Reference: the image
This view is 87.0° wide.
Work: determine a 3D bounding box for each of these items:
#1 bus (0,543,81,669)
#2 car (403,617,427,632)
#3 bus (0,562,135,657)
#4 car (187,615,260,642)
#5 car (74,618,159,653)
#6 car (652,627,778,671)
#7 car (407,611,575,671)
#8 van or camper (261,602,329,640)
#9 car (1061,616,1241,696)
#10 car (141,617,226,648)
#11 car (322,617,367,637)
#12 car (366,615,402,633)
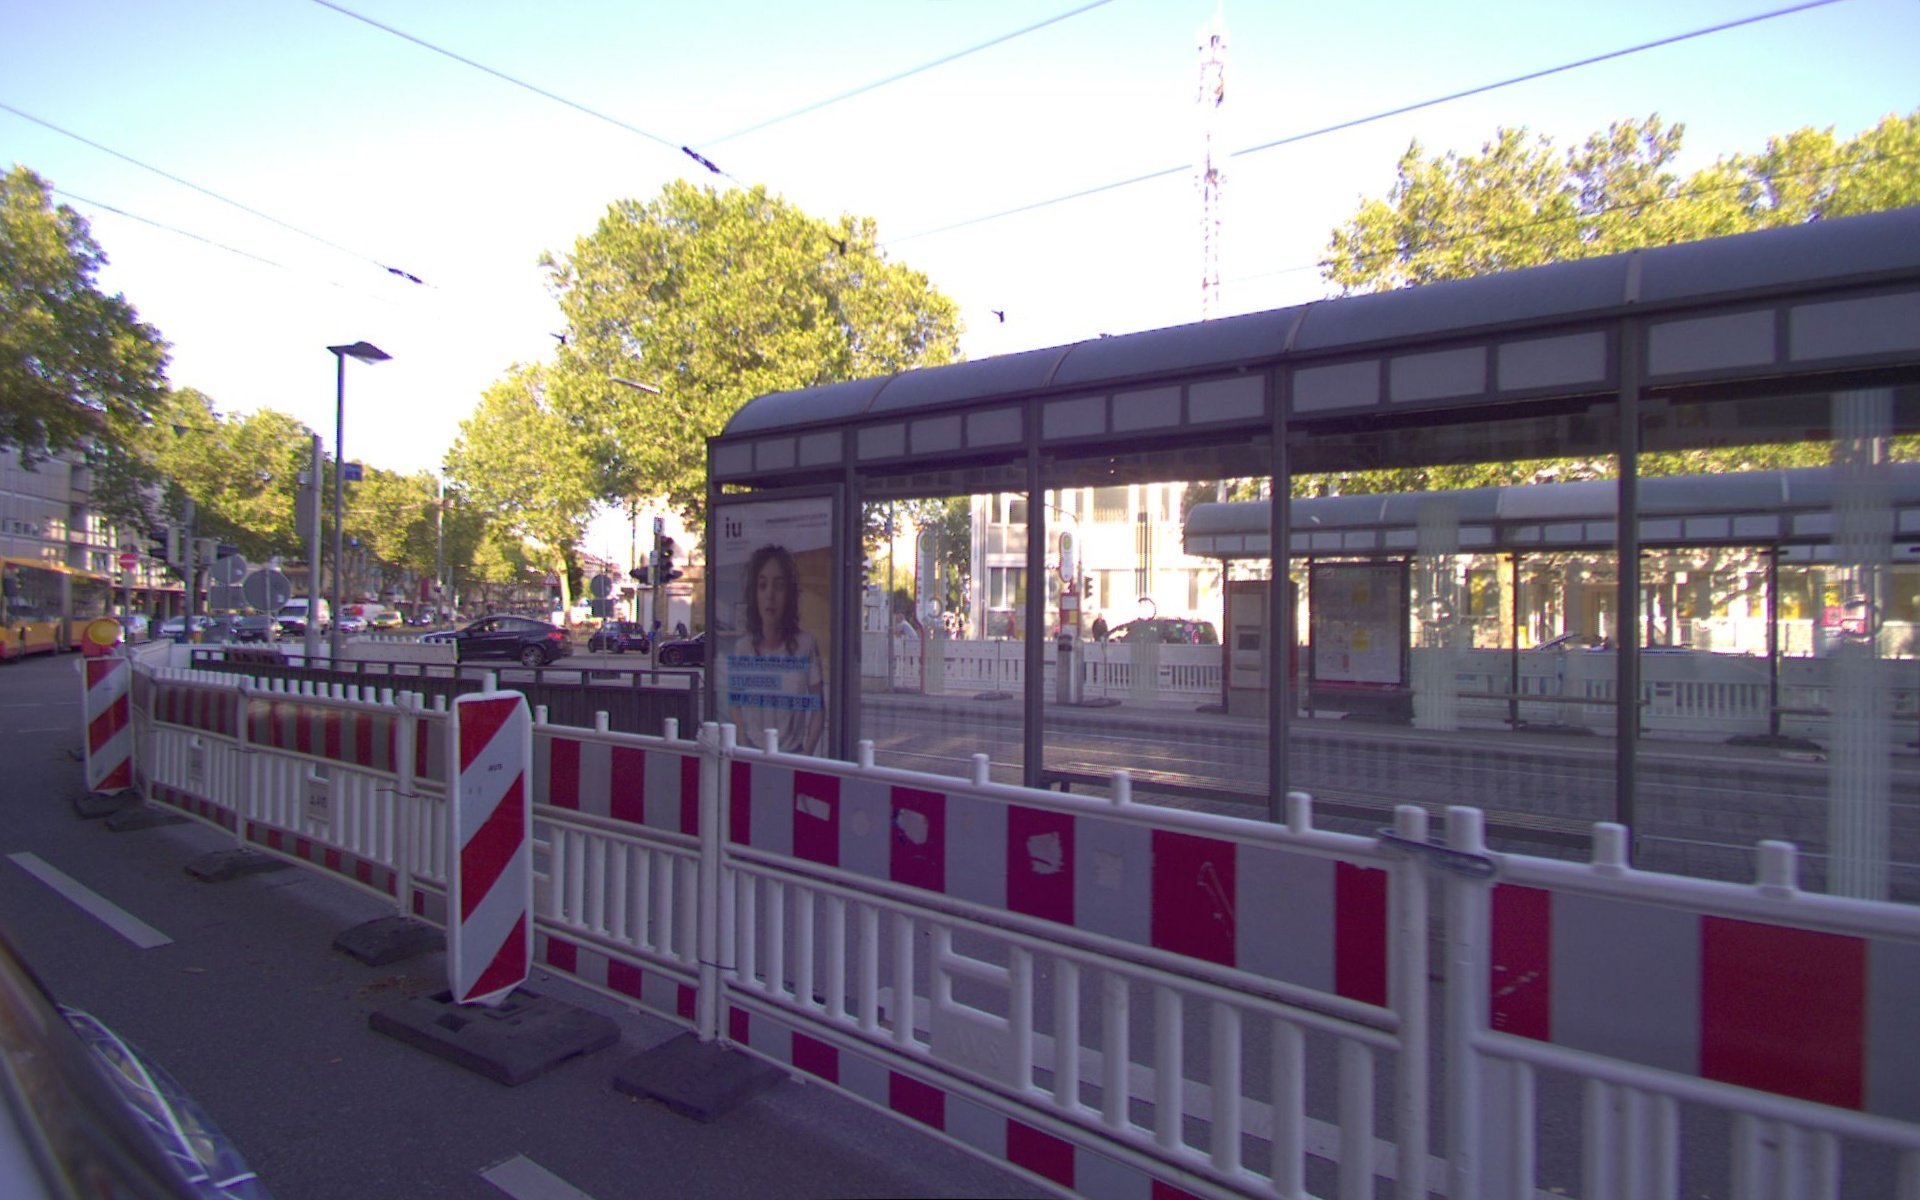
[{"bbox_3d":[-29.005,0.301,30.180,2.694,3.231,12.338,-1,-1,-34],"label":"bus"},{"bbox_3d":[-58.624,2.628,108.903,1.677,1.599,3.718,1,-1,-18],"label":"car"},{"bbox_3d":[-35.397,0.430,40.125,2.694,3.231,12.396,-1,-1,-33],"label":"bus"},{"bbox_3d":[-44.145,1.704,60.812,1.966,1.608,4.574,0,-1,-14],"label":"car"},{"bbox_3d":[-40.035,1.657,48.140,1.965,1.608,4.576,1,-2,-25],"label":"car"},{"bbox_3d":[-7.821,1.572,32.536,3.629,1.278,1.610,2,-2,2],"label":"car"},{"bbox_3d":[-14.663,1.316,31.879,4.366,1.660,2.004,2,-4,-9],"label":"car"},{"bbox_3d":[-47.232,1.501,72.001,2.254,2.558,5.509,0,-1,-13],"label":"van or camper"},{"bbox_3d":[4.735,1.322,25.256,3.991,1.829,1.976,-1,-1,35],"label":"car"},{"bbox_3d":[-41.756,1.703,54.528,1.966,1.608,4.574,0,-1,-14],"label":"car"},{"bbox_3d":[-50.021,2.178,82.329,1.966,1.608,4.011,1,-1,-14],"label":"car"},{"bbox_3d":[-53.567,2.246,94.130,1.966,1.608,4.011,0,-2,-16],"label":"car"}]
